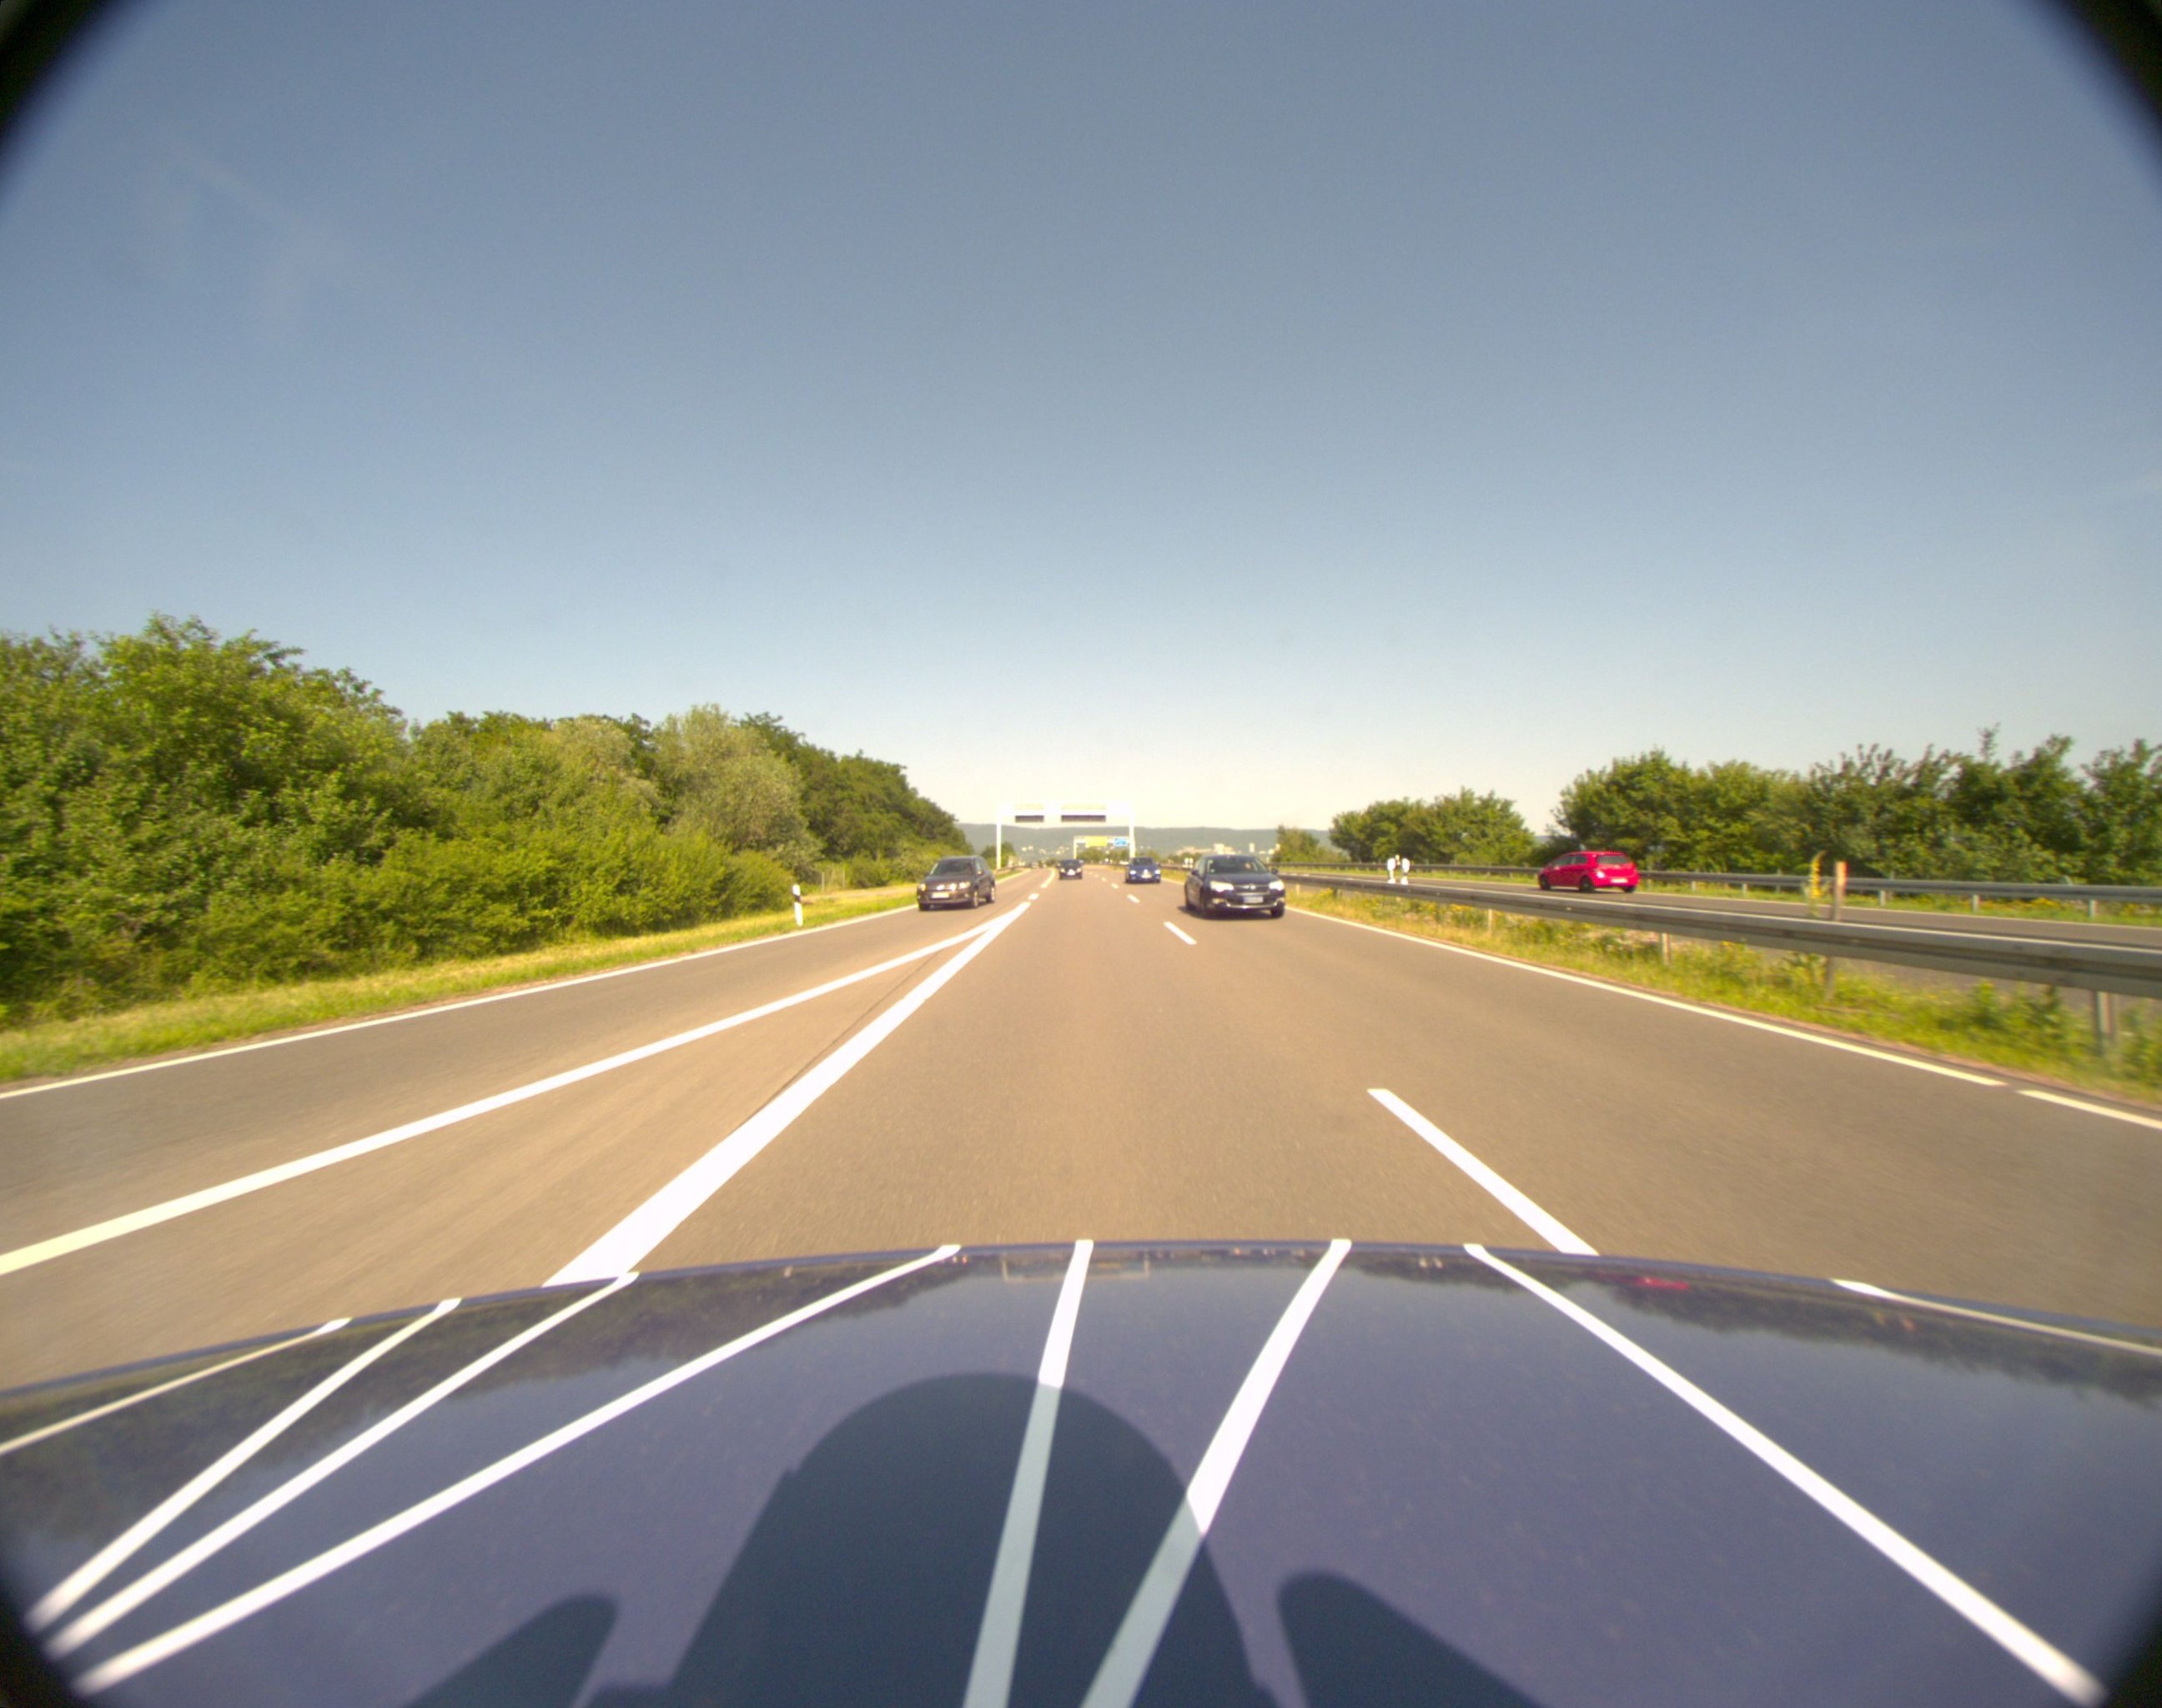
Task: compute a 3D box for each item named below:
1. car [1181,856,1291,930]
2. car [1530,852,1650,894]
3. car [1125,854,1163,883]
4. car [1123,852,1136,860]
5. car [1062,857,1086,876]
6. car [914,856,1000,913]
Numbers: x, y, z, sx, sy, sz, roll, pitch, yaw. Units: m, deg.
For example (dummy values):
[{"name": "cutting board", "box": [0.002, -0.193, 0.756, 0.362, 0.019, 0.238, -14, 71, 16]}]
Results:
[{"name": "car", "box": [3.595, 0.840, 18.431, 1.788, 1.524, 4.375, -1, 0, 1]}, {"name": "car", "box": [18.915, 0.671, 28.488, 1.789, 1.437, 4.000, 0, 0, -1]}, {"name": "car", "box": [3.363, 0.760, 41.233, 1.652, 1.403, 3.775, -2, 0, -1]}, {"name": "car", "box": [9.540, 0.386, 150.096, 1.907, 1.610, 4.627, -2, 0, -5]}, {"name": "car", "box": [-0.527, 0.859, 53.797, 1.601, 1.241, 4.000, -2, -1, -2]}, {"name": "car", "box": [-3.961, 0.920, 24.949, 1.789, 1.637, 4.149, -2, 0, 5]}]
